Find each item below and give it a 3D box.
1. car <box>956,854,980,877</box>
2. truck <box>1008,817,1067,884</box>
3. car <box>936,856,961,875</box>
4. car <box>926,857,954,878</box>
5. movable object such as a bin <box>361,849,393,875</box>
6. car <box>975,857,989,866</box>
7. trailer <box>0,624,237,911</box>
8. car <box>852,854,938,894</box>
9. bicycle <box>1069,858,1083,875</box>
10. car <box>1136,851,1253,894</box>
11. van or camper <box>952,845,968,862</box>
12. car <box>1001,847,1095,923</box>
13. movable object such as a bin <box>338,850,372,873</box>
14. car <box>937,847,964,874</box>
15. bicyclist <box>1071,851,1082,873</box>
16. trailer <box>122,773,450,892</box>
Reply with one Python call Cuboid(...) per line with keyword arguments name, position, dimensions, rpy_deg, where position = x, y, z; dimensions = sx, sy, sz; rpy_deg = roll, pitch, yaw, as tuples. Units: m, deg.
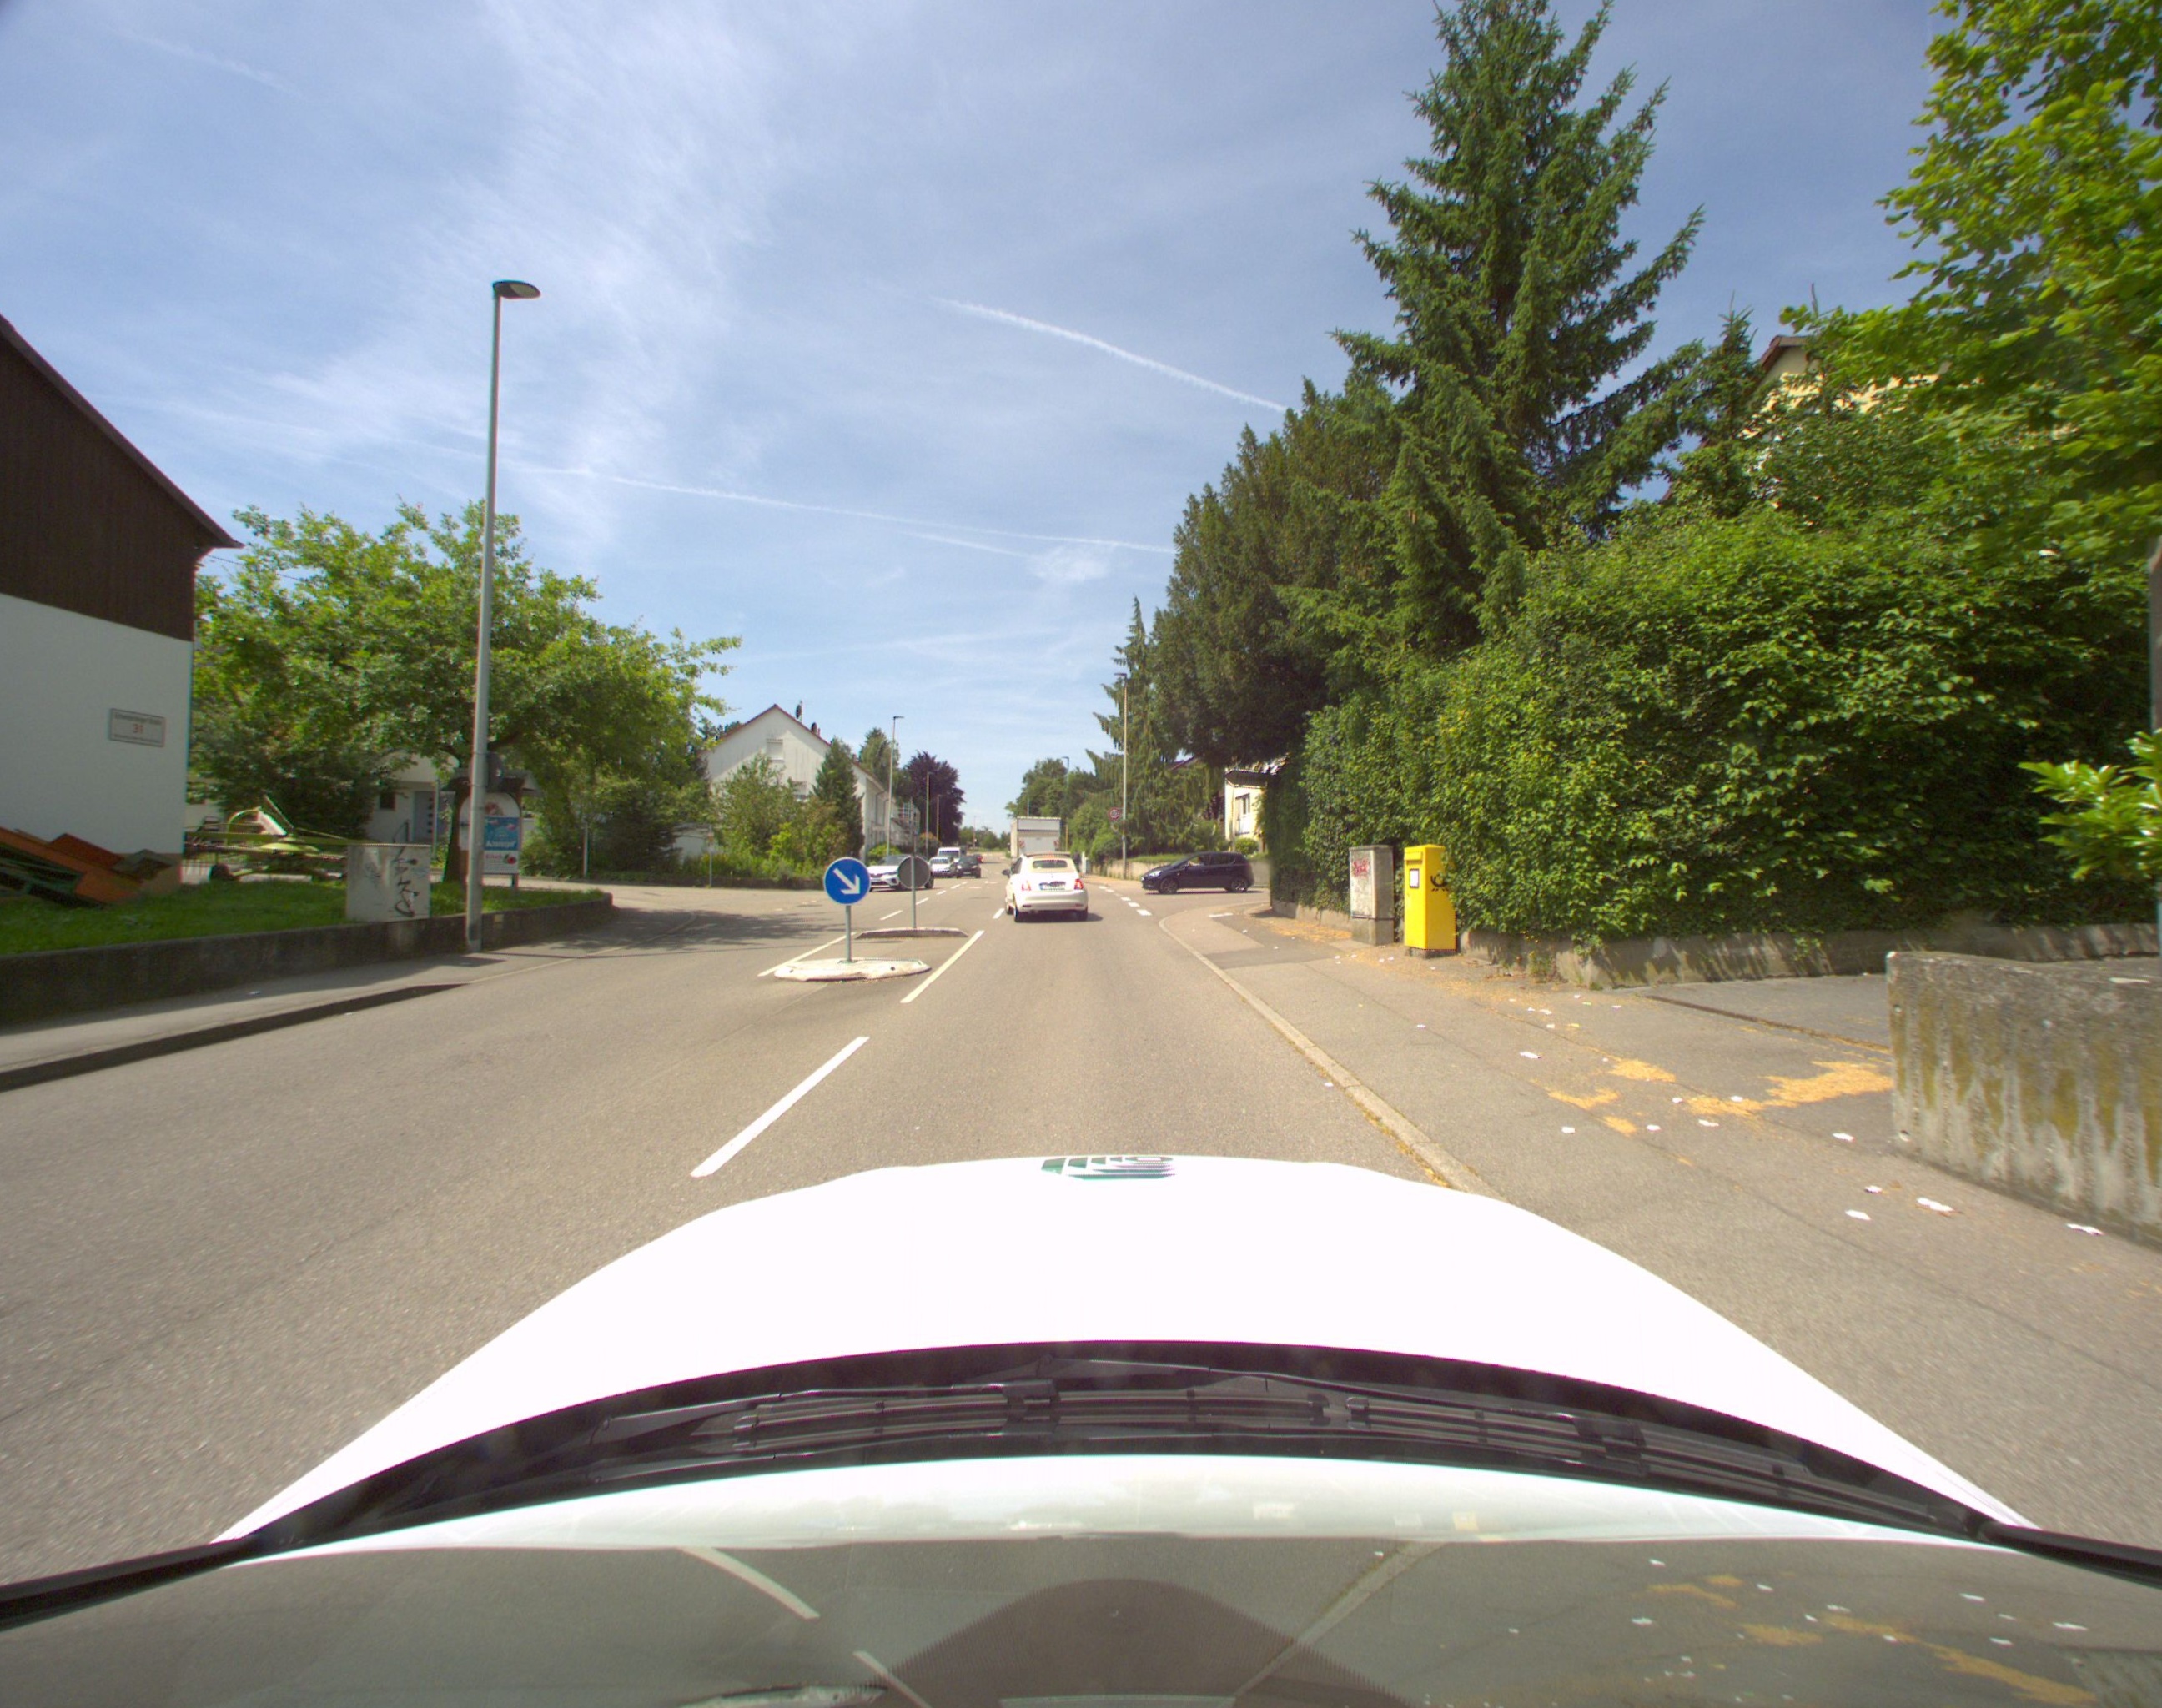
Cuboid(name="car", position=(-7.616, 0.758, 55.077), dimensions=(1.478, 1.510, 2.795), rpy_deg=(-1, 0, -6))
Cuboid(name="truck", position=(-2.830, -0.191, 50.428), dimensions=(3.066, 3.774, 7.848), rpy_deg=(-1, 0, -7))
Cuboid(name="car", position=(-10.218, 0.834, 62.865), dimensions=(1.803, 1.398, 3.957), rpy_deg=(0, 0, -8))
Cuboid(name="car", position=(-9.803, 0.922, 56.751), dimensions=(1.803, 1.398, 3.989), rpy_deg=(0, 0, -8))
Cuboid(name="movable object such as a bin", position=(-25.044, 0.284, 28.993), dimensions=(0.574, 0.890, 0.593), rpy_deg=(2, 0, 6))
Cuboid(name="car", position=(-16.251, 1.246, 133.784), dimensions=(1.828, 1.534, 3.998), rpy_deg=(1, -1, -1))
Cuboid(name="trailer", position=(-11.561, -0.859, 7.276), dimensions=(1.707, 2.848, 6.170), rpy_deg=(0, 0, -2))
Cuboid(name="car", position=(-7.931, 0.870, 35.153), dimensions=(1.770, 1.529, 4.186), rpy_deg=(3, -1, 15))
Cuboid(name="bicycle", position=(-0.345, 0.806, 54.743), dimensions=(0.667, 1.104, 2.420), rpy_deg=(1, 0, -6))
Cuboid(name="car", position=(4.010, 0.638, 29.121), dimensions=(3.924, 1.458, 1.657), rpy_deg=(-1, 0, -3))
Cuboid(name="van or camper", position=(-21.173, -0.125, 143.144), dimensions=(2.261, 2.962, 5.879), rpy_deg=(1, 0, -4))
Cuboid(name="car", position=(-0.891, 0.658, 19.302), dimensions=(1.725, 1.560, 3.987), rpy_deg=(-2, 0, -9))
Cuboid(name="movable object such as a bin", position=(-25.914, 0.252, 29.077), dimensions=(0.635, 0.810, 0.605), rpy_deg=(1, 0, 5))
Cuboid(name="car", position=(-10.997, 0.550, 68.943), dimensions=(2.036, 2.200, 5.567), rpy_deg=(0, 0, -8))
Cuboid(name="bicyclist", position=(-0.301, 0.544, 54.348), dimensions=(0.587, 1.412, 0.740), rpy_deg=(1, 0, -6))
Cuboid(name="trailer", position=(-13.169, -0.348, 13.583), dimensions=(3.662, 1.691, 2.780), rpy_deg=(2, 0, 26))
